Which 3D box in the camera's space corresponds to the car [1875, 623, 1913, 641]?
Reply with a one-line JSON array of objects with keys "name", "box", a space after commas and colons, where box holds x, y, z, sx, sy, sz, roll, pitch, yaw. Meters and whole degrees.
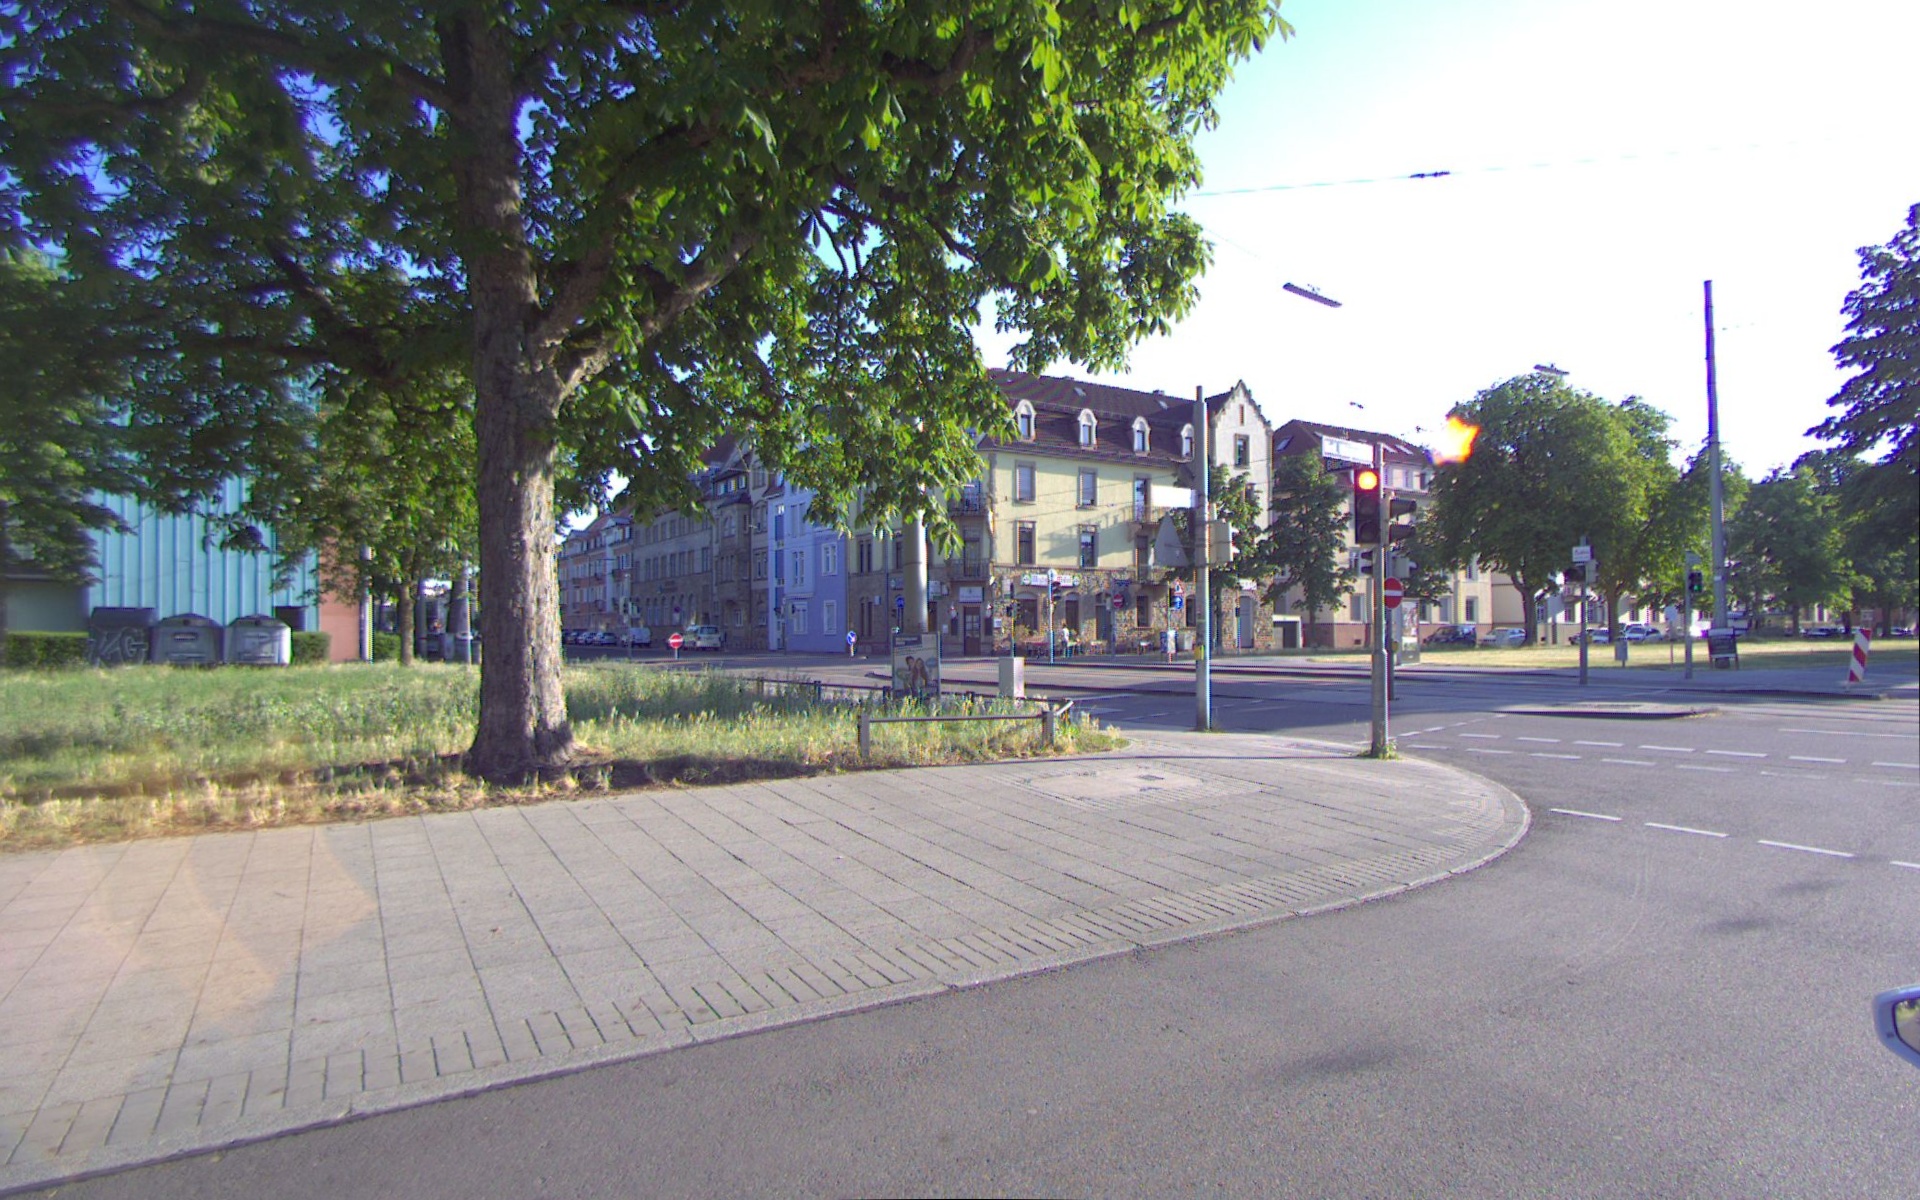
[{"name": "car", "box": [97.860, 3.370, 105.249, 4.075, 1.804, 1.802, 2, 0, -31]}]

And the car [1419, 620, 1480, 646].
[{"name": "car", "box": [35.693, 2.431, 73.190, 4.261, 1.759, 1.984, 2, 0, -30]}]

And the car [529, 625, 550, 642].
[{"name": "car", "box": [-54.766, 4.389, 130.883, 1.756, 2.040, 3.790, 2, 0, -34]}]

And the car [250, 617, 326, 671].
[{"name": "car", "box": [-22.933, 1.569, 34.351, 1.979, 1.693, 5.177, 2, -4, -33]}]

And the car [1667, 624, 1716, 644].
[{"name": "car", "box": [66.836, 3.100, 91.740, 4.517, 1.681, 1.984, 2, 0, -30]}]

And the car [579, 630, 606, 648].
[{"name": "car", "box": [-39.677, 4.210, 108.333, 1.816, 1.692, 3.911, 2, 0, -34]}]

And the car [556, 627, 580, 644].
[{"name": "car", "box": [-45.989, 4.150, 117.751, 1.782, 1.855, 3.755, 2, 0, -34]}]

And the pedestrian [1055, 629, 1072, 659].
[{"name": "pedestrian", "box": [5.778, 2.443, 56.245, 0.676, 1.646, 0.612, 2, 0, -34]}]

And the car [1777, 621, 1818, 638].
[{"name": "car", "box": [87.002, 3.071, 104.339, 4.323, 1.681, 1.984, 2, 0, -30]}]

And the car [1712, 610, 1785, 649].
[{"name": "car", "box": [67.956, 2.478, 86.508, 7.764, 3.173, 2.379, 1, 1, -32]}]

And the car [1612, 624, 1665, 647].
[{"name": "car", "box": [51.566, 2.681, 76.311, 4.372, 1.575, 1.785, 0, 1, -34]}]

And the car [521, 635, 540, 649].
[{"name": "car", "box": [-57.677, 5.620, 134.734, 1.713, 1.694, 3.638, 2, 0, -33]}]

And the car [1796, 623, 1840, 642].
[{"name": "car", "box": [80.916, 3.068, 94.697, 4.266, 1.696, 1.869, 2, 0, -31]}]

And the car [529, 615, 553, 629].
[{"name": "car", "box": [-58.208, 3.065, 139.484, 1.912, 1.715, 3.951, 2, 0, -41]}]

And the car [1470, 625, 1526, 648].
[{"name": "car", "box": [40.928, 2.768, 76.367, 3.953, 1.681, 1.984, 2, 0, -30]}]

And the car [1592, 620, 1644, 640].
[{"name": "car", "box": [57.767, 2.633, 88.153, 4.517, 1.681, 1.984, 2, 0, -30]}]

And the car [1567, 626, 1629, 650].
[{"name": "car", "box": [46.505, 2.779, 73.235, 4.517, 1.681, 1.984, 2, 0, -30]}]

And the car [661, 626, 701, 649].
[{"name": "car", "box": [-23.153, 3.052, 83.288, 1.980, 1.763, 3.962, 1, 0, -34]}]

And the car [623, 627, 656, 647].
[{"name": "car", "box": [-30.017, 3.472, 93.960, 1.980, 1.694, 3.743, 2, 0, -34]}]

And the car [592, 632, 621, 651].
[{"name": "car", "box": [-36.494, 4.271, 103.676, 1.980, 1.694, 3.743, 2, 0, -34]}]

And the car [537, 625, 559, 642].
[{"name": "car", "box": [-51.953, 4.212, 126.681, 1.789, 2.040, 3.772, 2, 0, -33]}]

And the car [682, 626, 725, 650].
[{"name": "car", "box": [-20.009, 2.948, 78.254, 2.011, 1.760, 3.743, 2, 0, -34]}]

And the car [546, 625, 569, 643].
[{"name": "car", "box": [-48.974, 4.121, 122.112, 1.805, 2.040, 3.924, 2, 0, -34]}]

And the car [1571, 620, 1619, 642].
[{"name": "car", "box": [52.838, 2.592, 83.577, 4.142, 1.654, 1.707, 2, 0, -30]}]
